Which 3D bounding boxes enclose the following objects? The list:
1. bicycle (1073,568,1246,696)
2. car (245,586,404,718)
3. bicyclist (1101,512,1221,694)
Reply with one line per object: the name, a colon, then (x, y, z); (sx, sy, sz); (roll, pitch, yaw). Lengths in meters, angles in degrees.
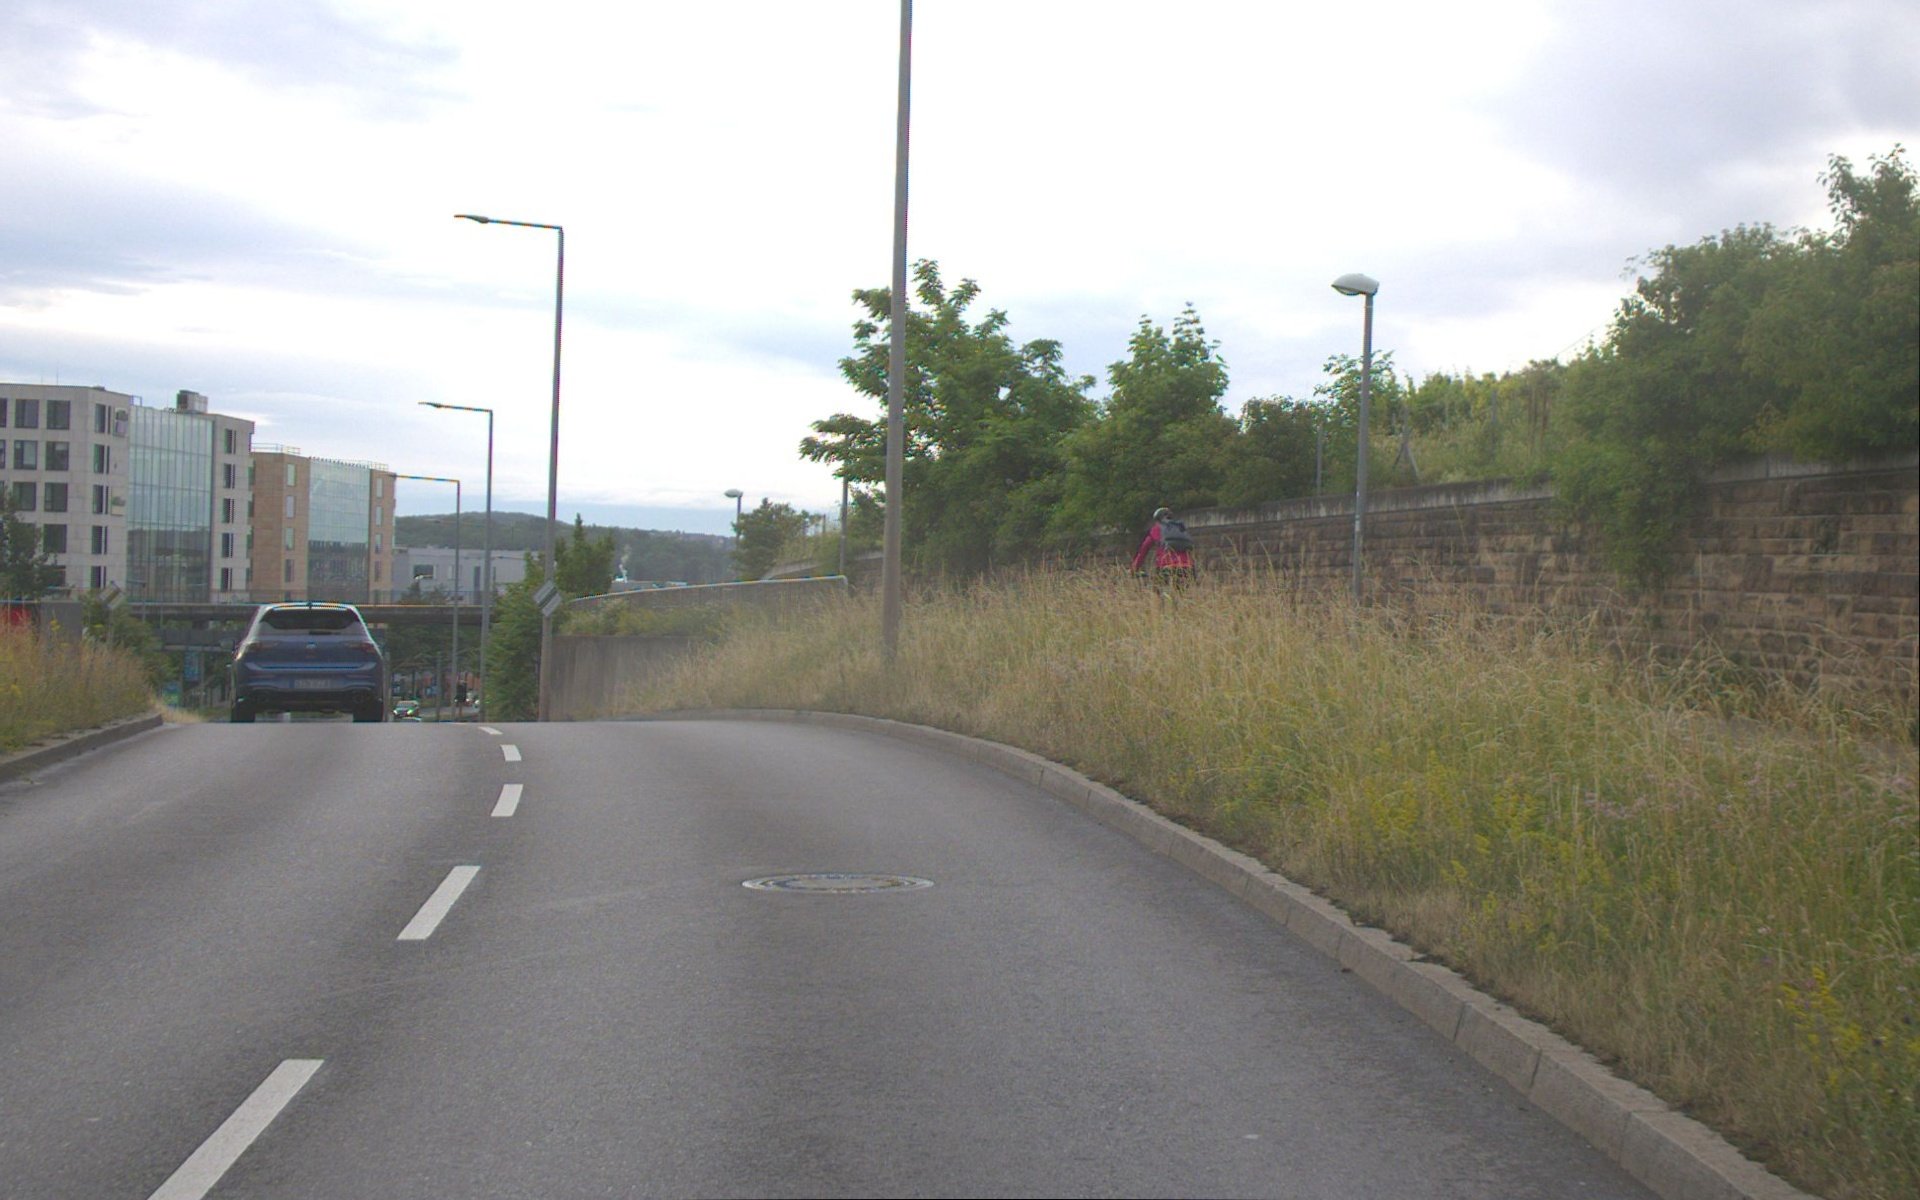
bicycle: (2.144, 0.348, 37.678); (0.869, 1.284, 3.488); (4, -1, -13)
car: (-7.705, 0.602, 41.824); (1.748, 1.415, 3.479); (3, 0, -10)
bicyclist: (2.191, 0.030, 37.593); (0.869, 1.902, 1.294); (4, -1, -13)
